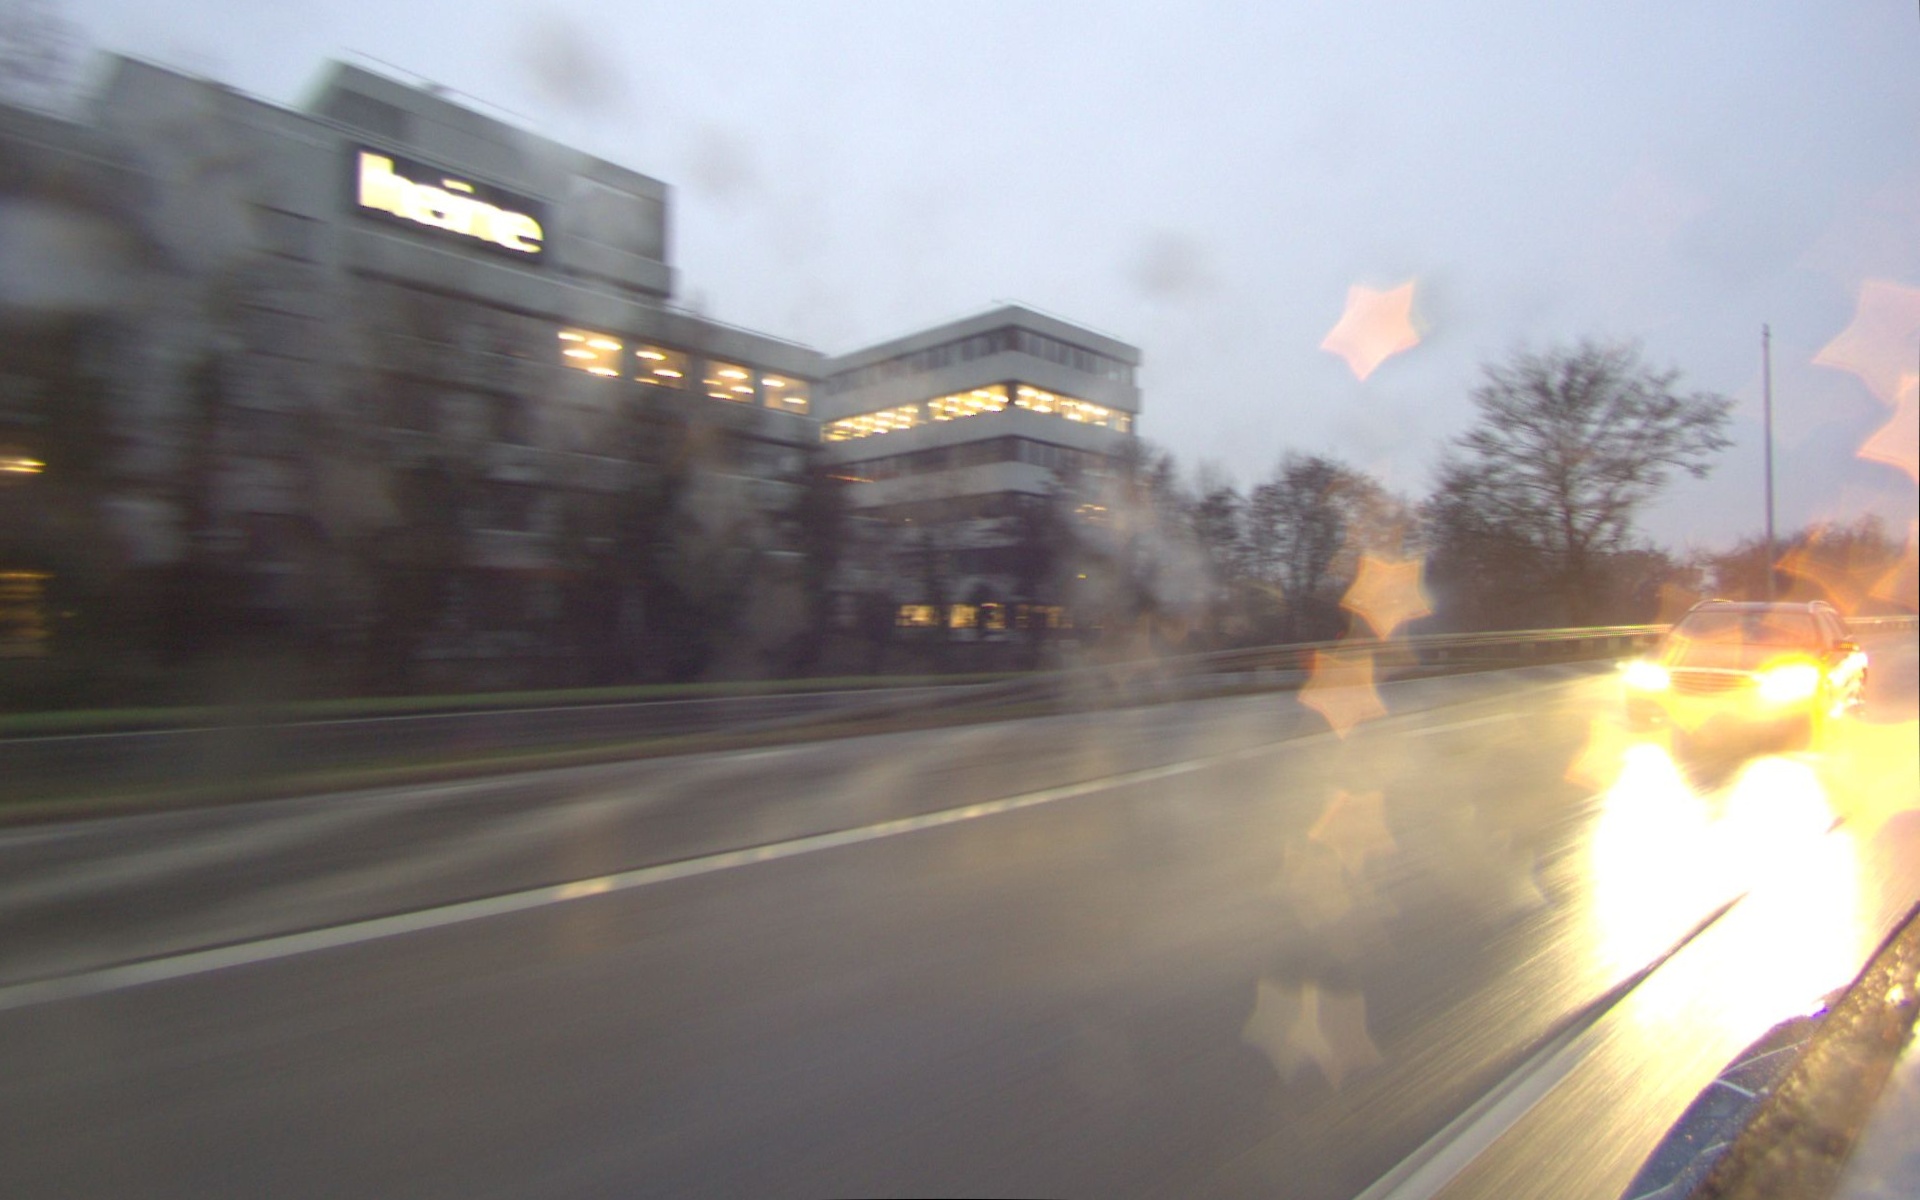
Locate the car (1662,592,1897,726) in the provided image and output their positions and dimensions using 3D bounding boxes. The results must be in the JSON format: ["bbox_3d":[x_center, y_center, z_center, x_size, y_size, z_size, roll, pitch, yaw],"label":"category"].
[{"bbox_3d":[10.632,0.656,13.031,4.101,1.472,1.594,0,0,-40],"label":"car"}]
